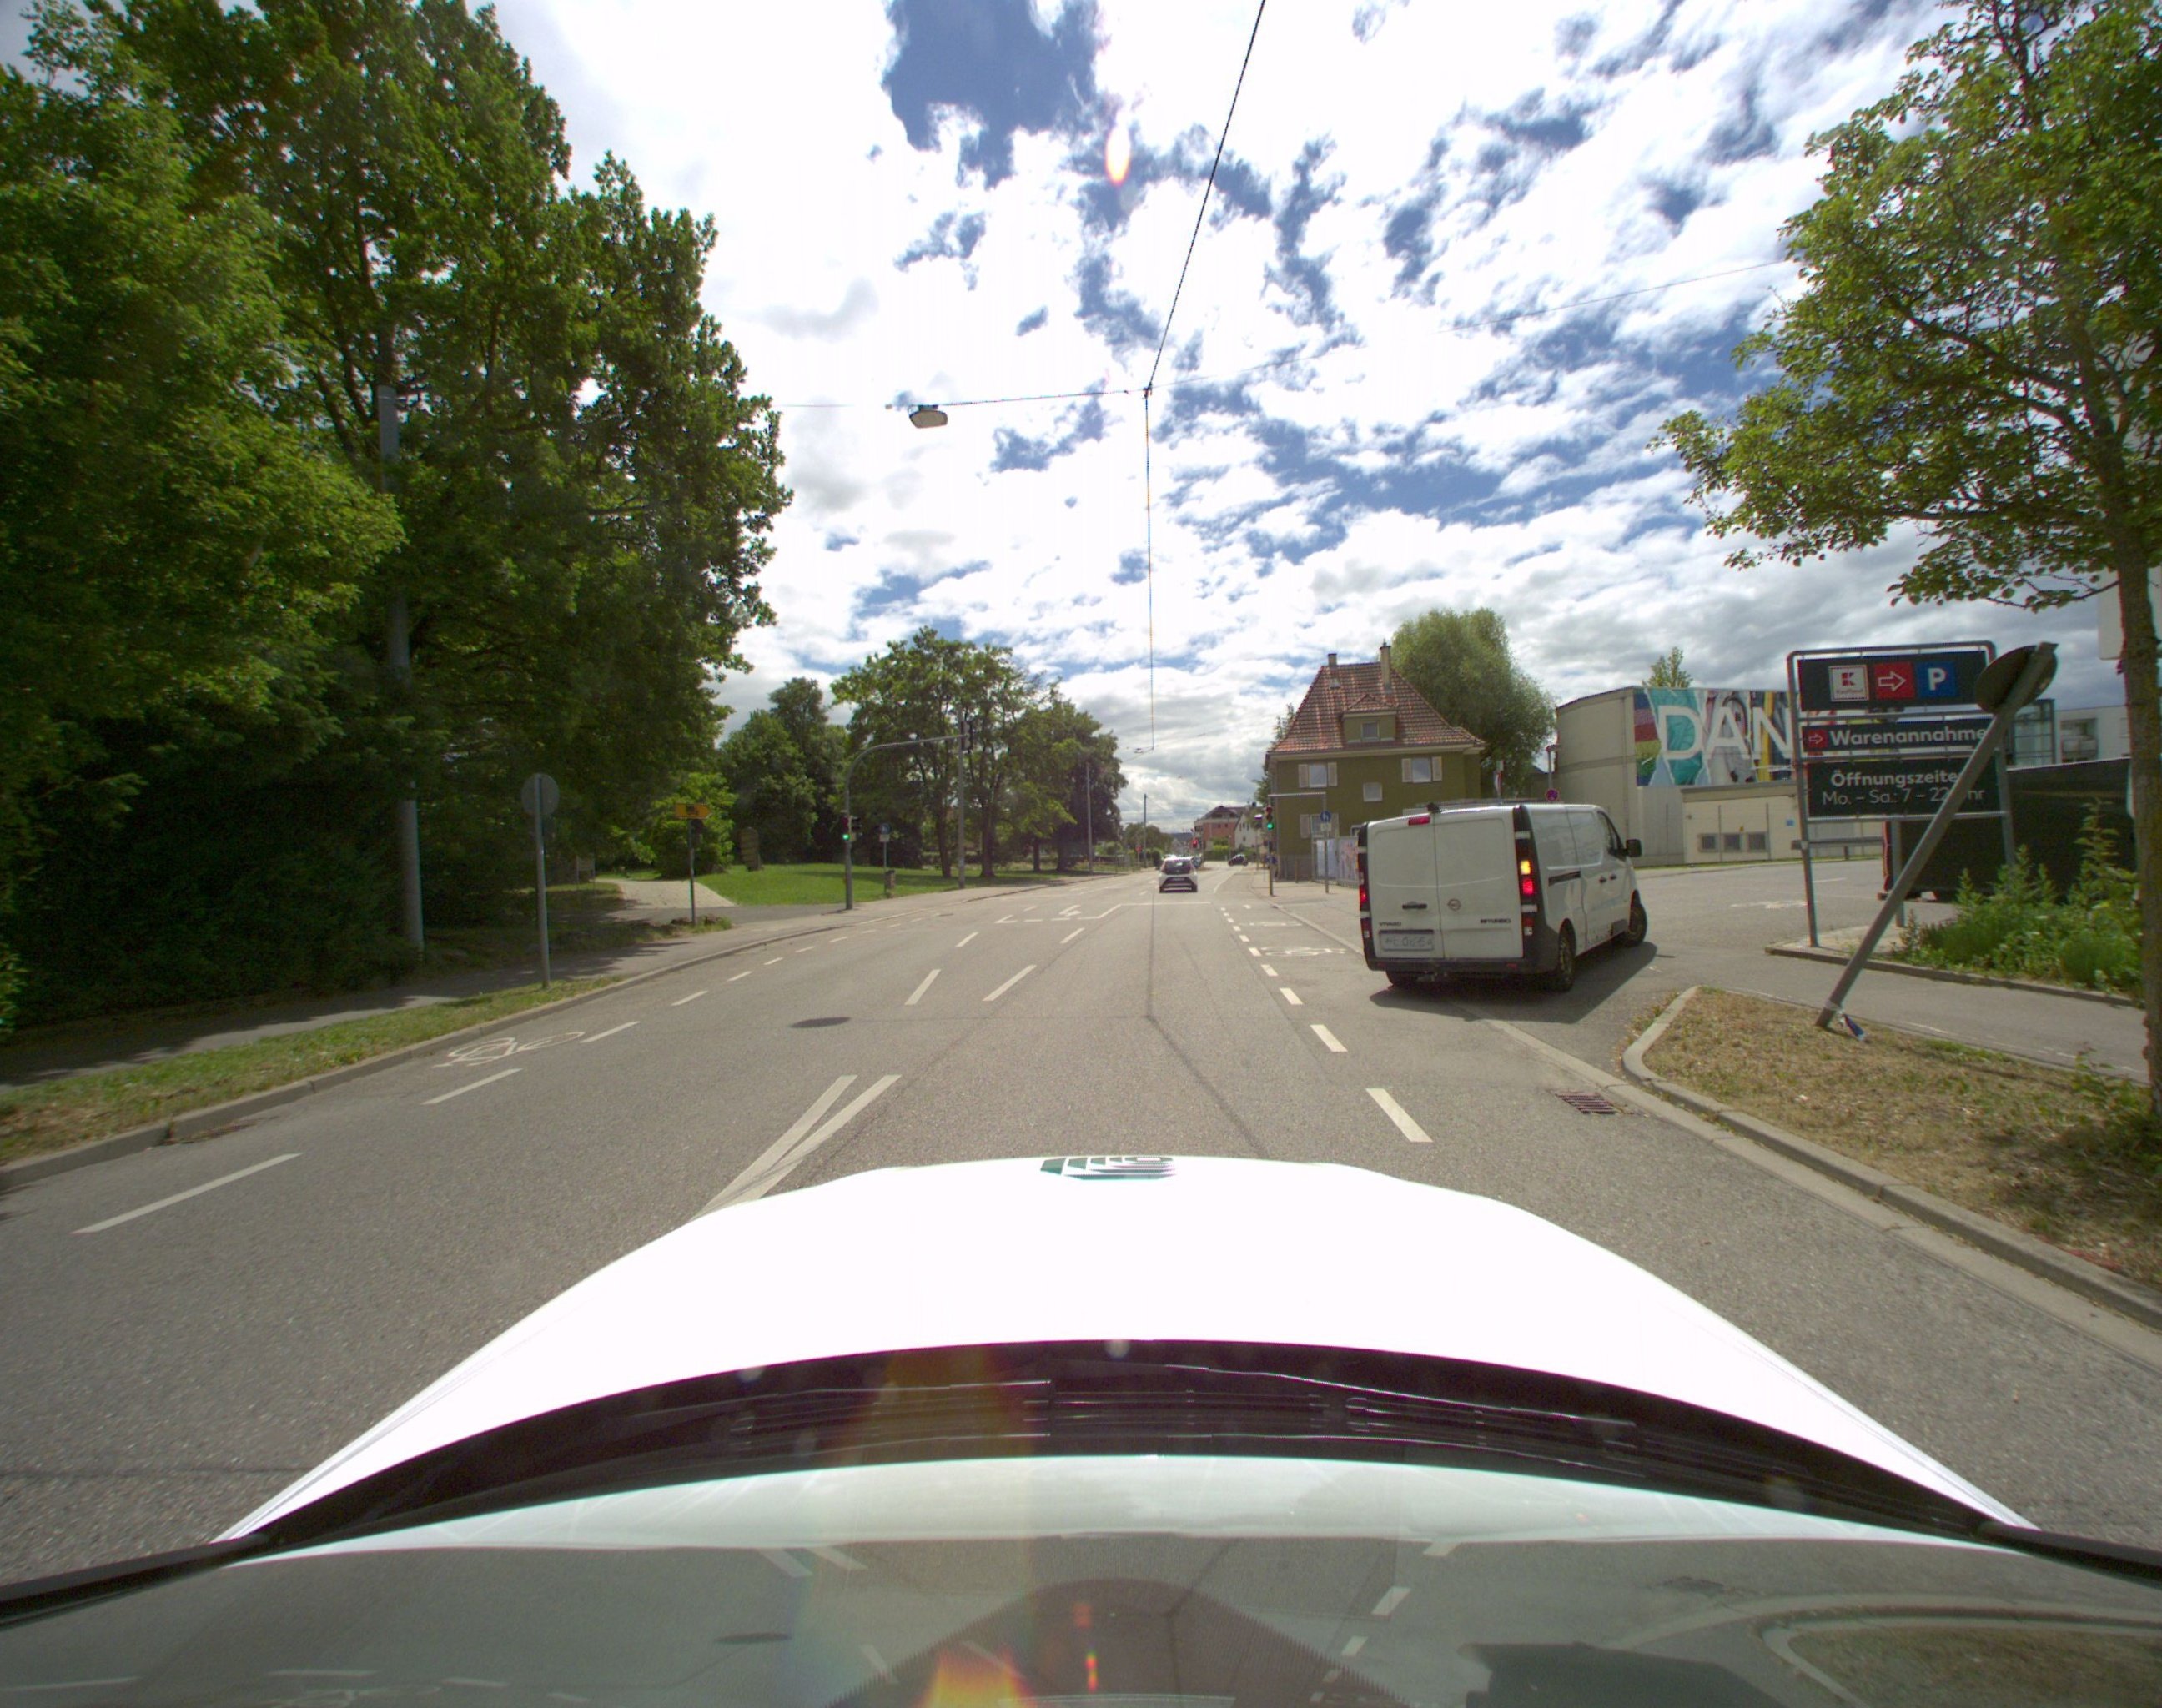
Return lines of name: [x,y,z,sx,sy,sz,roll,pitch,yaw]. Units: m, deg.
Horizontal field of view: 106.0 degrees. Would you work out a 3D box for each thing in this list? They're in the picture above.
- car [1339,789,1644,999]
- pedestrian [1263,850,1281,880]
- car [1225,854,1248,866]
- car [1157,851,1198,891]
car: [5.241,0.306,9.989,1.920,1.960,4.863,-4,0,44]
pedestrian: [10.104,0.587,43.102,0.676,1.553,0.835,-4,-3,1]
car: [21.229,0.829,111.231,3.023,1.434,1.487,-2,-1,8]
car: [4.153,0.718,35.474,1.595,1.606,4.005,-2,-1,5]
